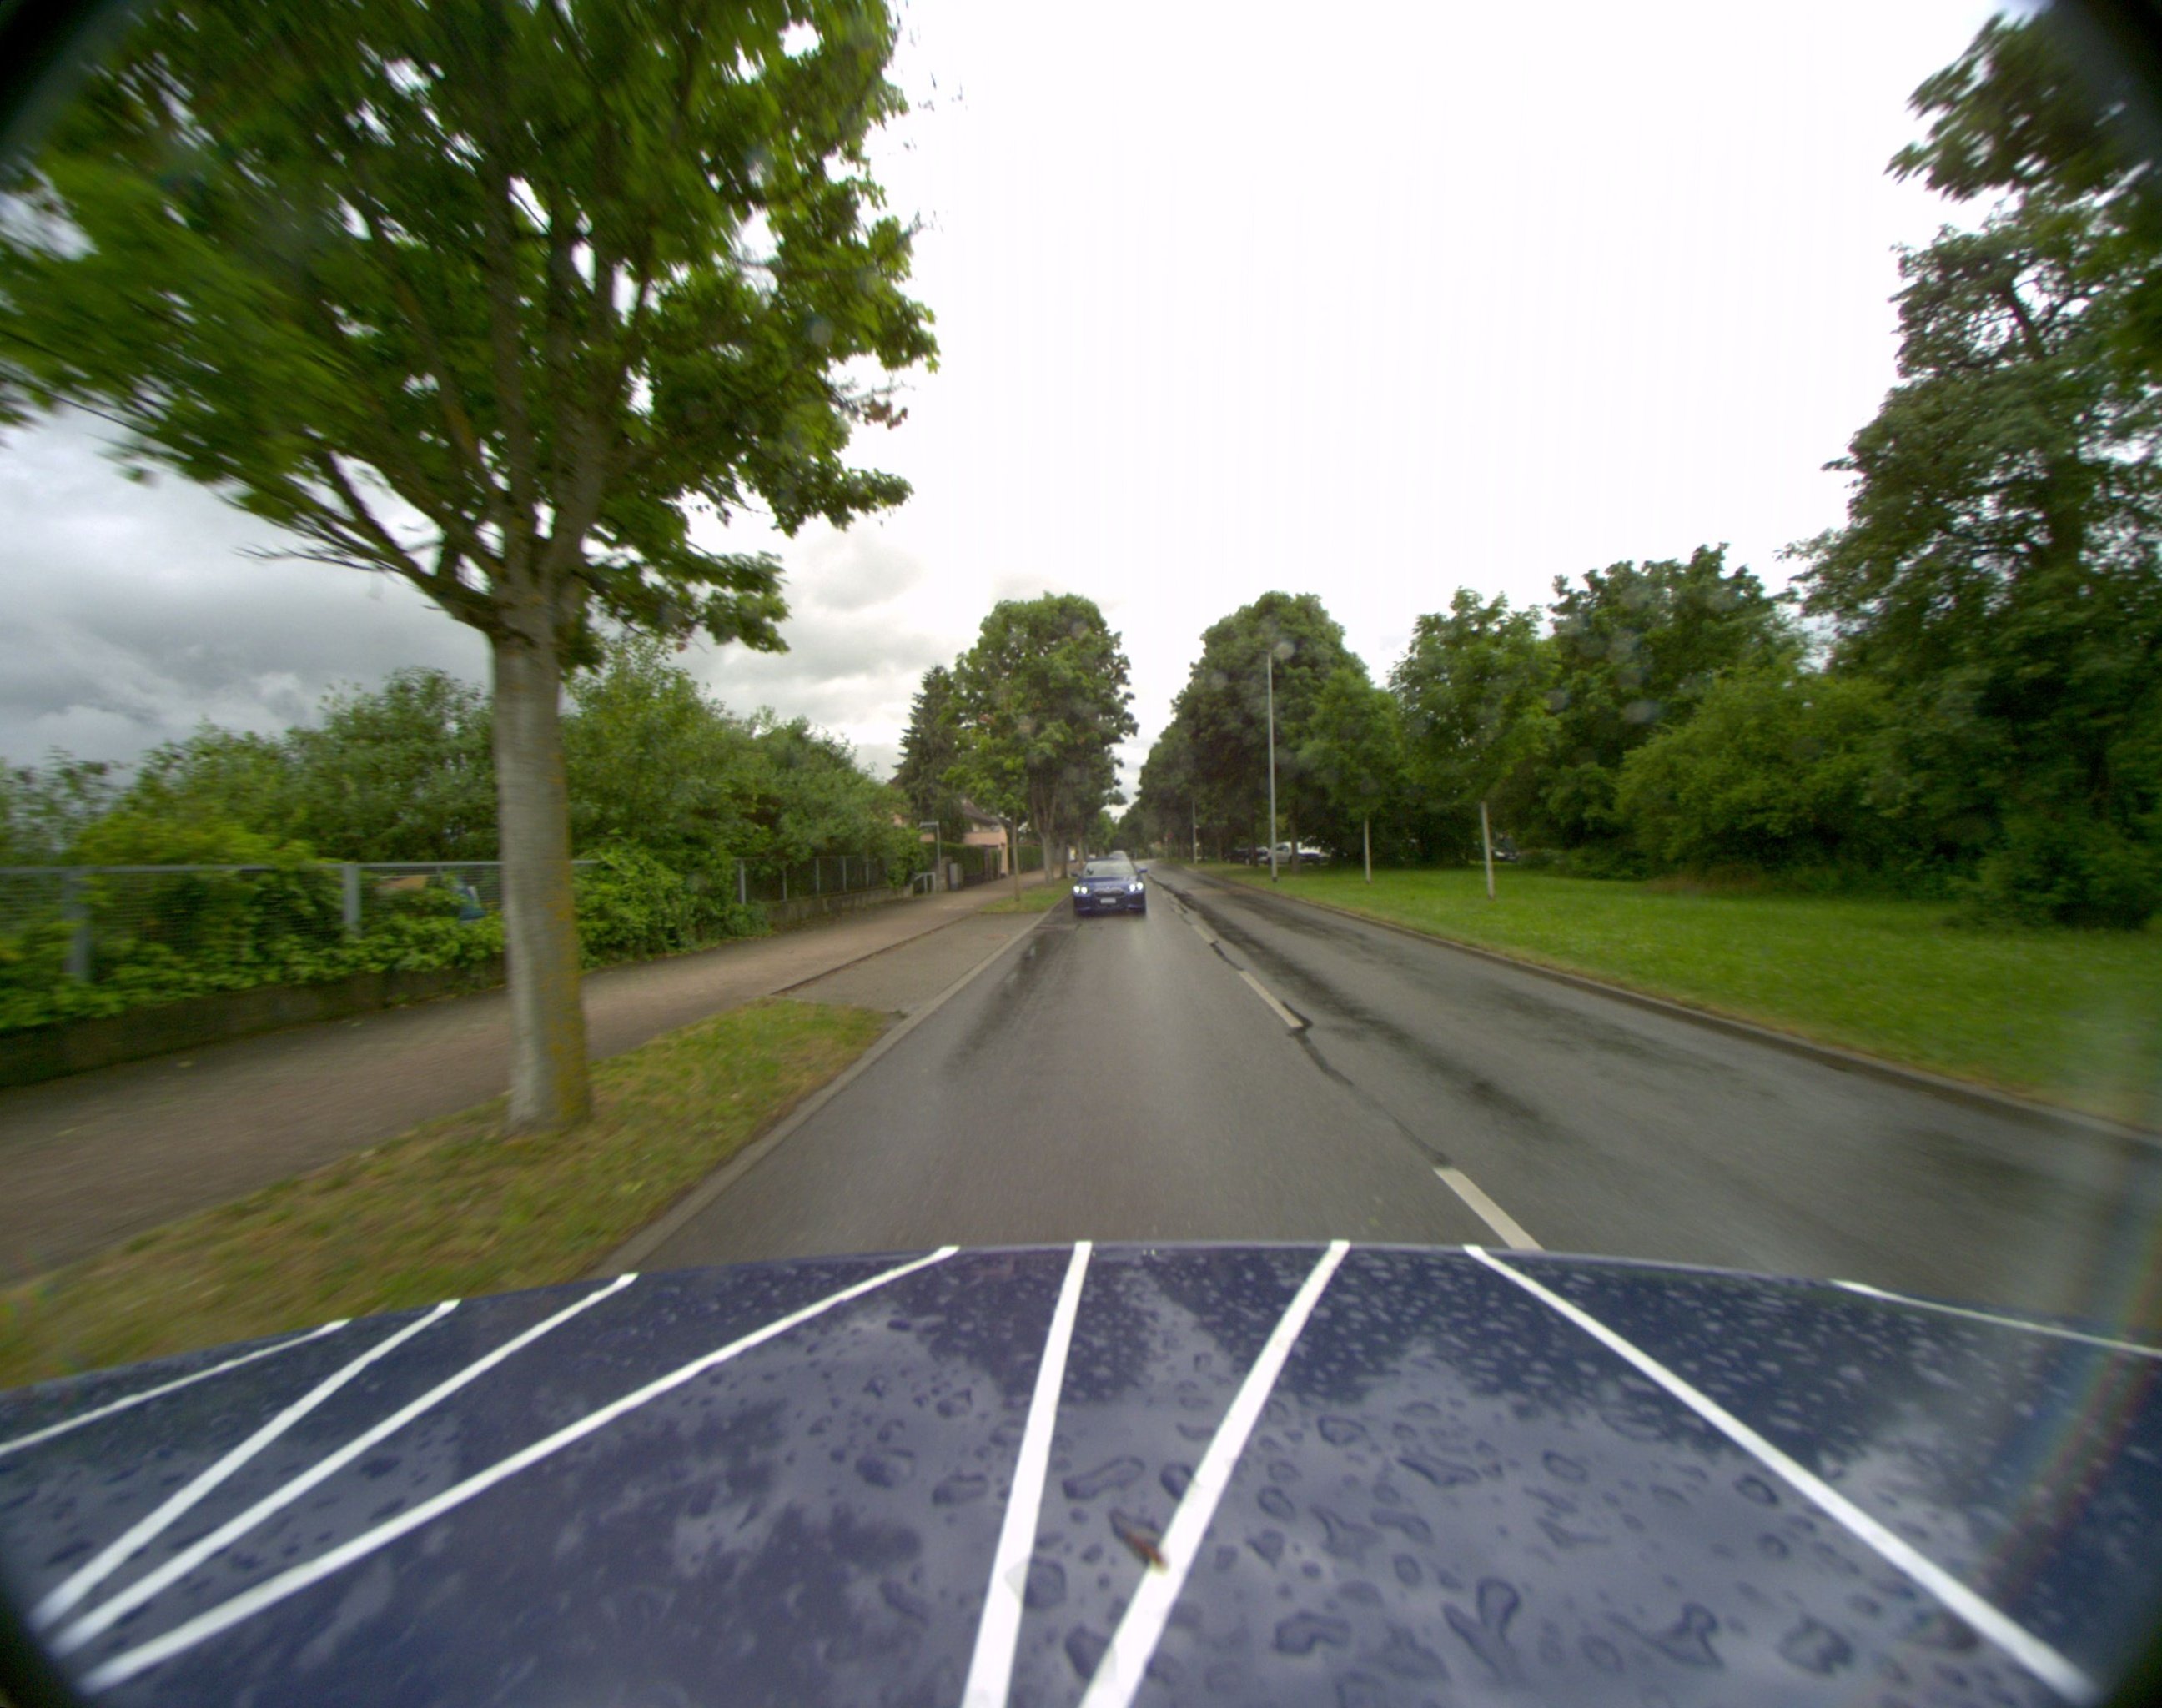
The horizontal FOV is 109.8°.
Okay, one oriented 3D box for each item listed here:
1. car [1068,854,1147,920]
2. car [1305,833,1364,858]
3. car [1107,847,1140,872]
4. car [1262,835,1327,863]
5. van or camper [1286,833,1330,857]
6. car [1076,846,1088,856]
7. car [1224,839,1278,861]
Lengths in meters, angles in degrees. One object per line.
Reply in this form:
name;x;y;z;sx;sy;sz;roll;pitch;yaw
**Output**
car;0.768;0.799;20.405;1.815;1.459;3.975;-3;0;4
car;19.740;-0.705;59.393;1.911;1.760;4.890;-2;2;-17
car;2.822;0.338;50.950;1.929;1.374;4.307;-5;1;1
car;12.810;-0.271;45.913;1.888;1.421;4.213;-2;-2;-15
van or camper;23.332;-0.854;78.309;2.096;2.322;6.151;-2;0;-6
car;0.219;-0.485;125.905;1.665;1.414;4.001;-4;0;4
car;12.679;-0.306;57.046;1.896;1.505;4.241;-2;1;-21
